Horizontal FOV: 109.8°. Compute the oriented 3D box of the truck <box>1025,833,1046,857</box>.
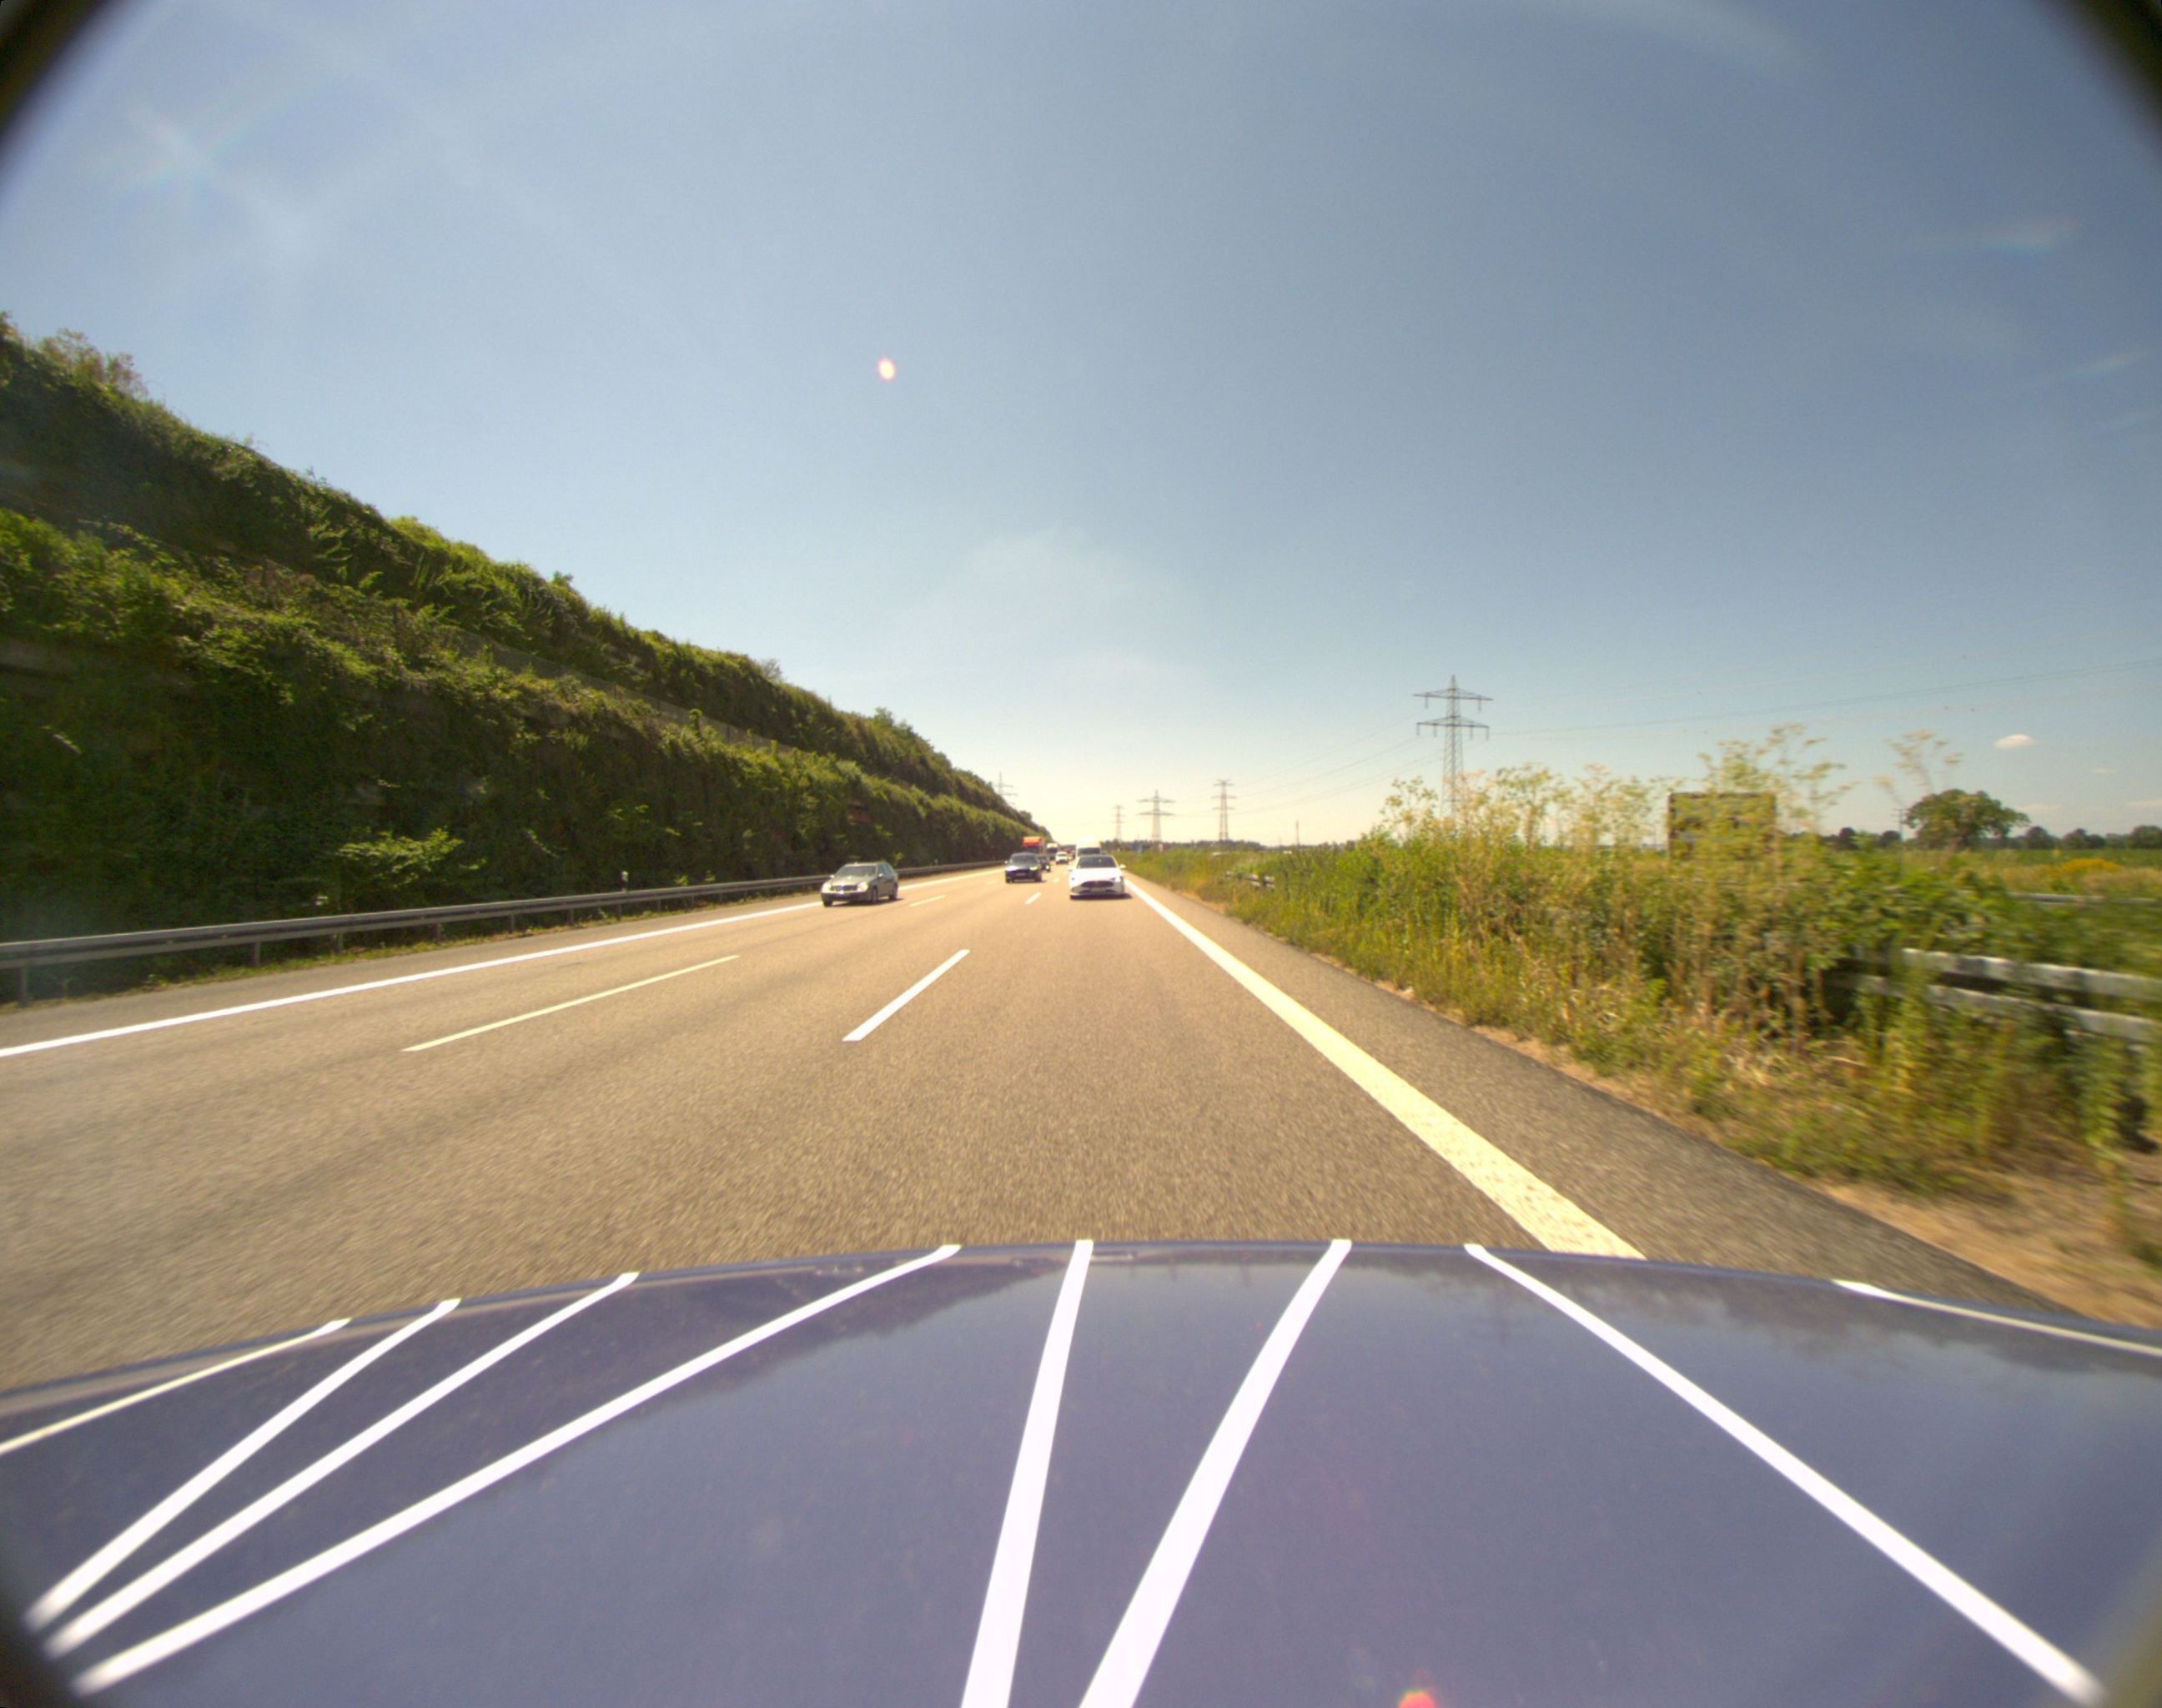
[{"bbox_3d":[-6.482,-1.272,109.113,2.581,3.204,5.712,-2,1,0],"label":"truck"}]

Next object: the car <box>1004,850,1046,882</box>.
[{"bbox_3d":[-3.150,0.653,43.645,1.984,1.671,4.558,-1,0,0],"label":"car"}]

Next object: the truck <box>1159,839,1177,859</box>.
[{"bbox_3d":[18.835,-1.109,165.229,3.214,4.060,9.648,0,1,2],"label":"truck"}]

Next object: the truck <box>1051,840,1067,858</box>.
[{"bbox_3d":[-4.970,-1.213,174.755,3.507,3.891,9.646,0,1,-1],"label":"truck"}]

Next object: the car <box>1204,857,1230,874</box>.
[{"bbox_3d":[13.665,1.132,76.642,1.866,1.644,4.558,-1,0,0],"label":"car"}]

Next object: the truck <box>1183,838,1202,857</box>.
[{"bbox_3d":[24.642,-1.377,168.282,3.214,4.060,9.648,0,1,2],"label":"truck"}]

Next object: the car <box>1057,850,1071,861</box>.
[{"bbox_3d":[-2.444,0.232,111.114,1.984,1.525,4.137,-1,0,0],"label":"car"}]

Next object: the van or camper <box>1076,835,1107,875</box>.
[{"bbox_3d":[0.811,0.069,55.507,1.998,2.741,5.410,-2,1,3],"label":"van or camper"}]

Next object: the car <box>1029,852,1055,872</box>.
[{"bbox_3d":[-3.436,0.706,66.935,1.984,1.671,4.558,-1,0,0],"label":"car"}]

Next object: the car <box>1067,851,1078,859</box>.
[{"bbox_3d":[-1.721,0.208,151.566,1.984,1.525,4.137,-1,0,0],"label":"car"}]

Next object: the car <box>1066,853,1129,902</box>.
[{"bbox_3d":[0.544,0.743,26.640,1.984,1.525,4.558,-1,0,0],"label":"car"}]

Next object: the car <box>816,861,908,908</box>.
[{"bbox_3d":[-7.658,1.019,27.038,1.840,1.403,4.558,-2,0,0],"label":"car"}]

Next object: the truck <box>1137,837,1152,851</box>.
[{"bbox_3d":[19.357,-3.075,232.393,3.507,4.060,9.646,0,1,-1],"label":"truck"}]
